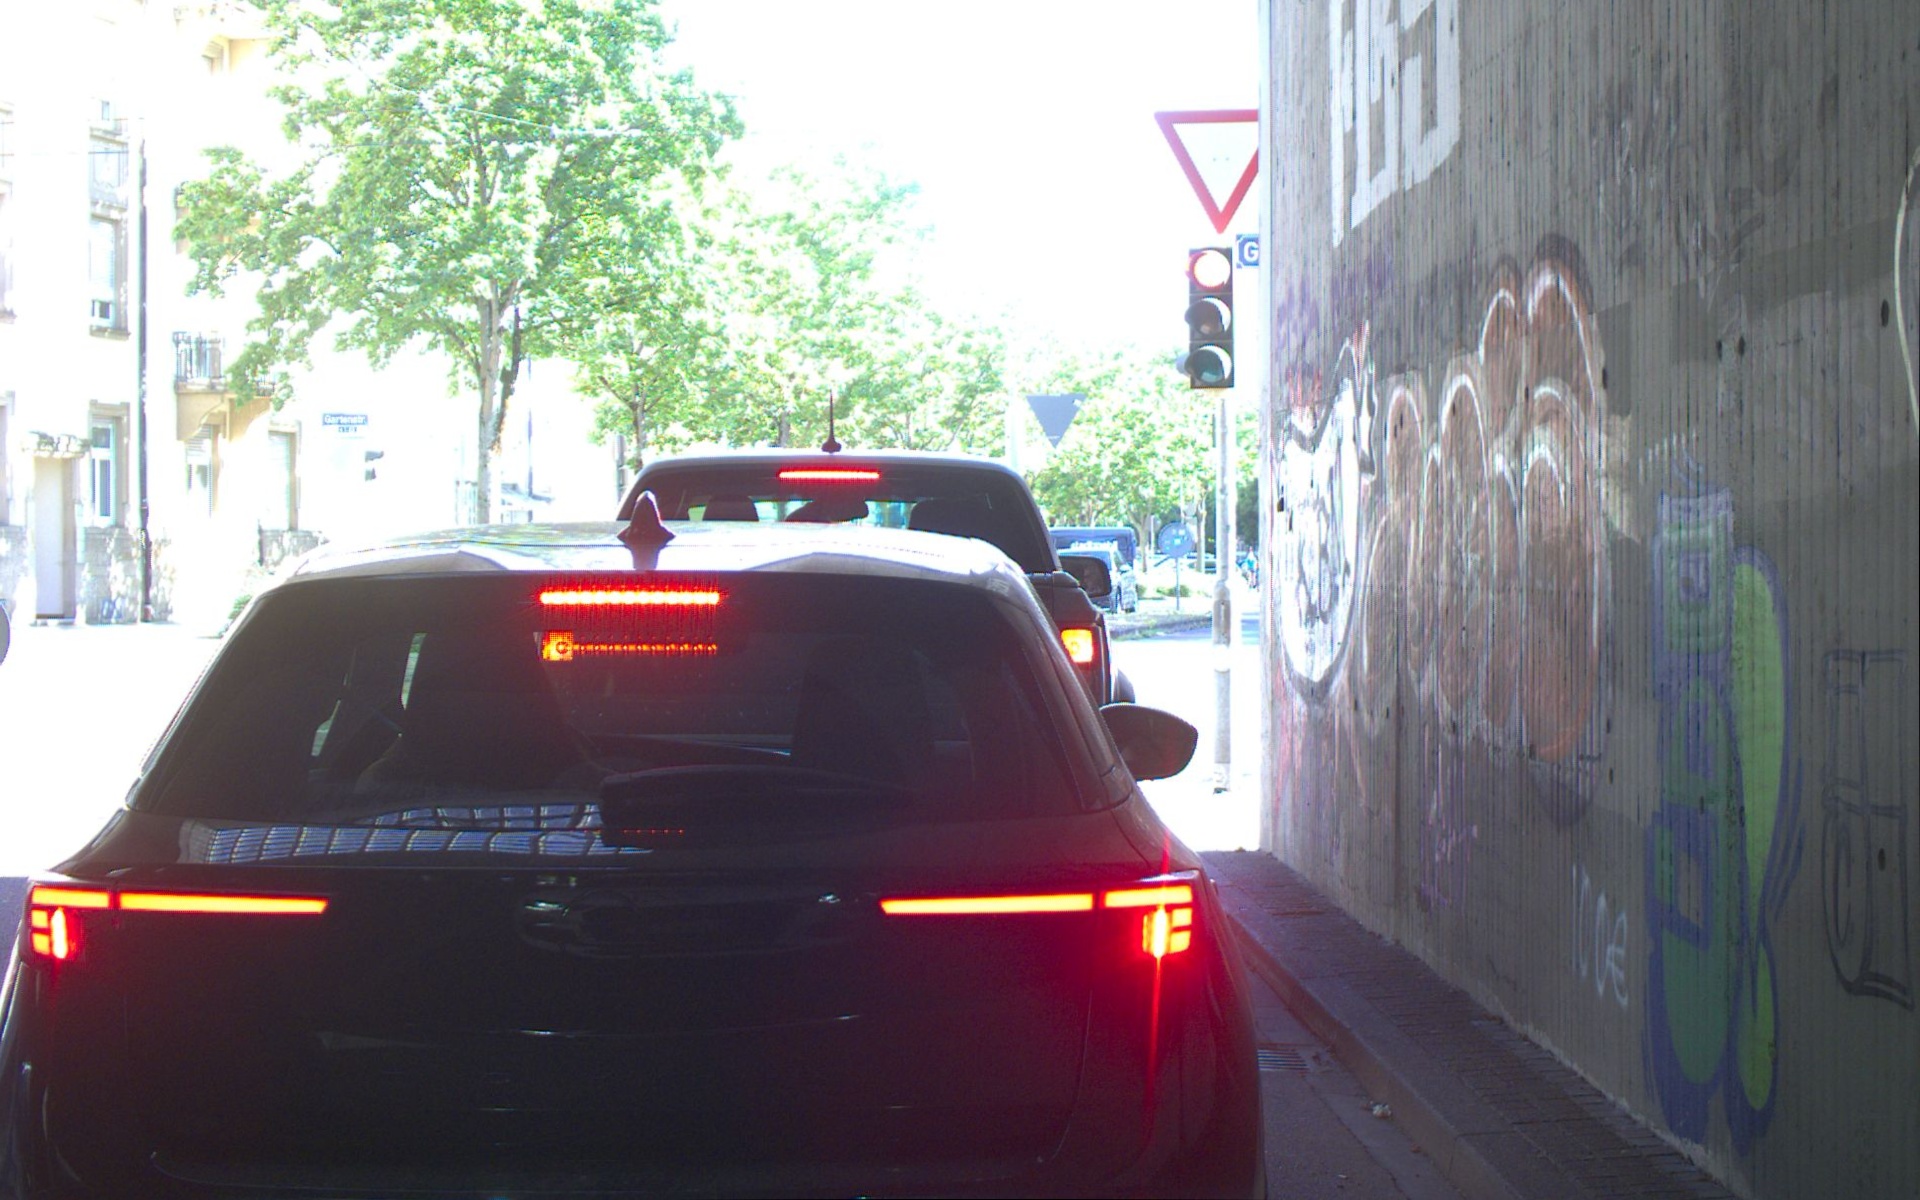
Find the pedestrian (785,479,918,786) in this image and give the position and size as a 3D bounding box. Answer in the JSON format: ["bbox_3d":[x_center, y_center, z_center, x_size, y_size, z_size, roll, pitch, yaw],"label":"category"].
[{"bbox_3d":[-0.620,0.180,19.905,0.731,1.728,0.874,1,0,-1],"label":"pedestrian"}]

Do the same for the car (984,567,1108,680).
[{"bbox_3d":[1.590,0.391,62.250,1.994,1.963,4.163,1,1,5],"label":"car"}]

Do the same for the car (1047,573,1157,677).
[{"bbox_3d":[2.861,0.467,68.470,1.994,1.963,4.163,1,1,5],"label":"car"}]

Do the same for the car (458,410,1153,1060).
[{"bbox_3d":[-0.465,0.351,11.936,1.993,1.865,4.000,0,1,-1],"label":"car"}]

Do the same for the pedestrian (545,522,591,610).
[{"bbox_3d":[-9.346,-0.805,81.990,0.892,2.080,0.808,1,0,7],"label":"pedestrian"}]

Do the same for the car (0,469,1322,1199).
[{"bbox_3d":[-0.482,0.563,6.125,1.764,1.566,4.001,1,2,-1],"label":"car"}]
